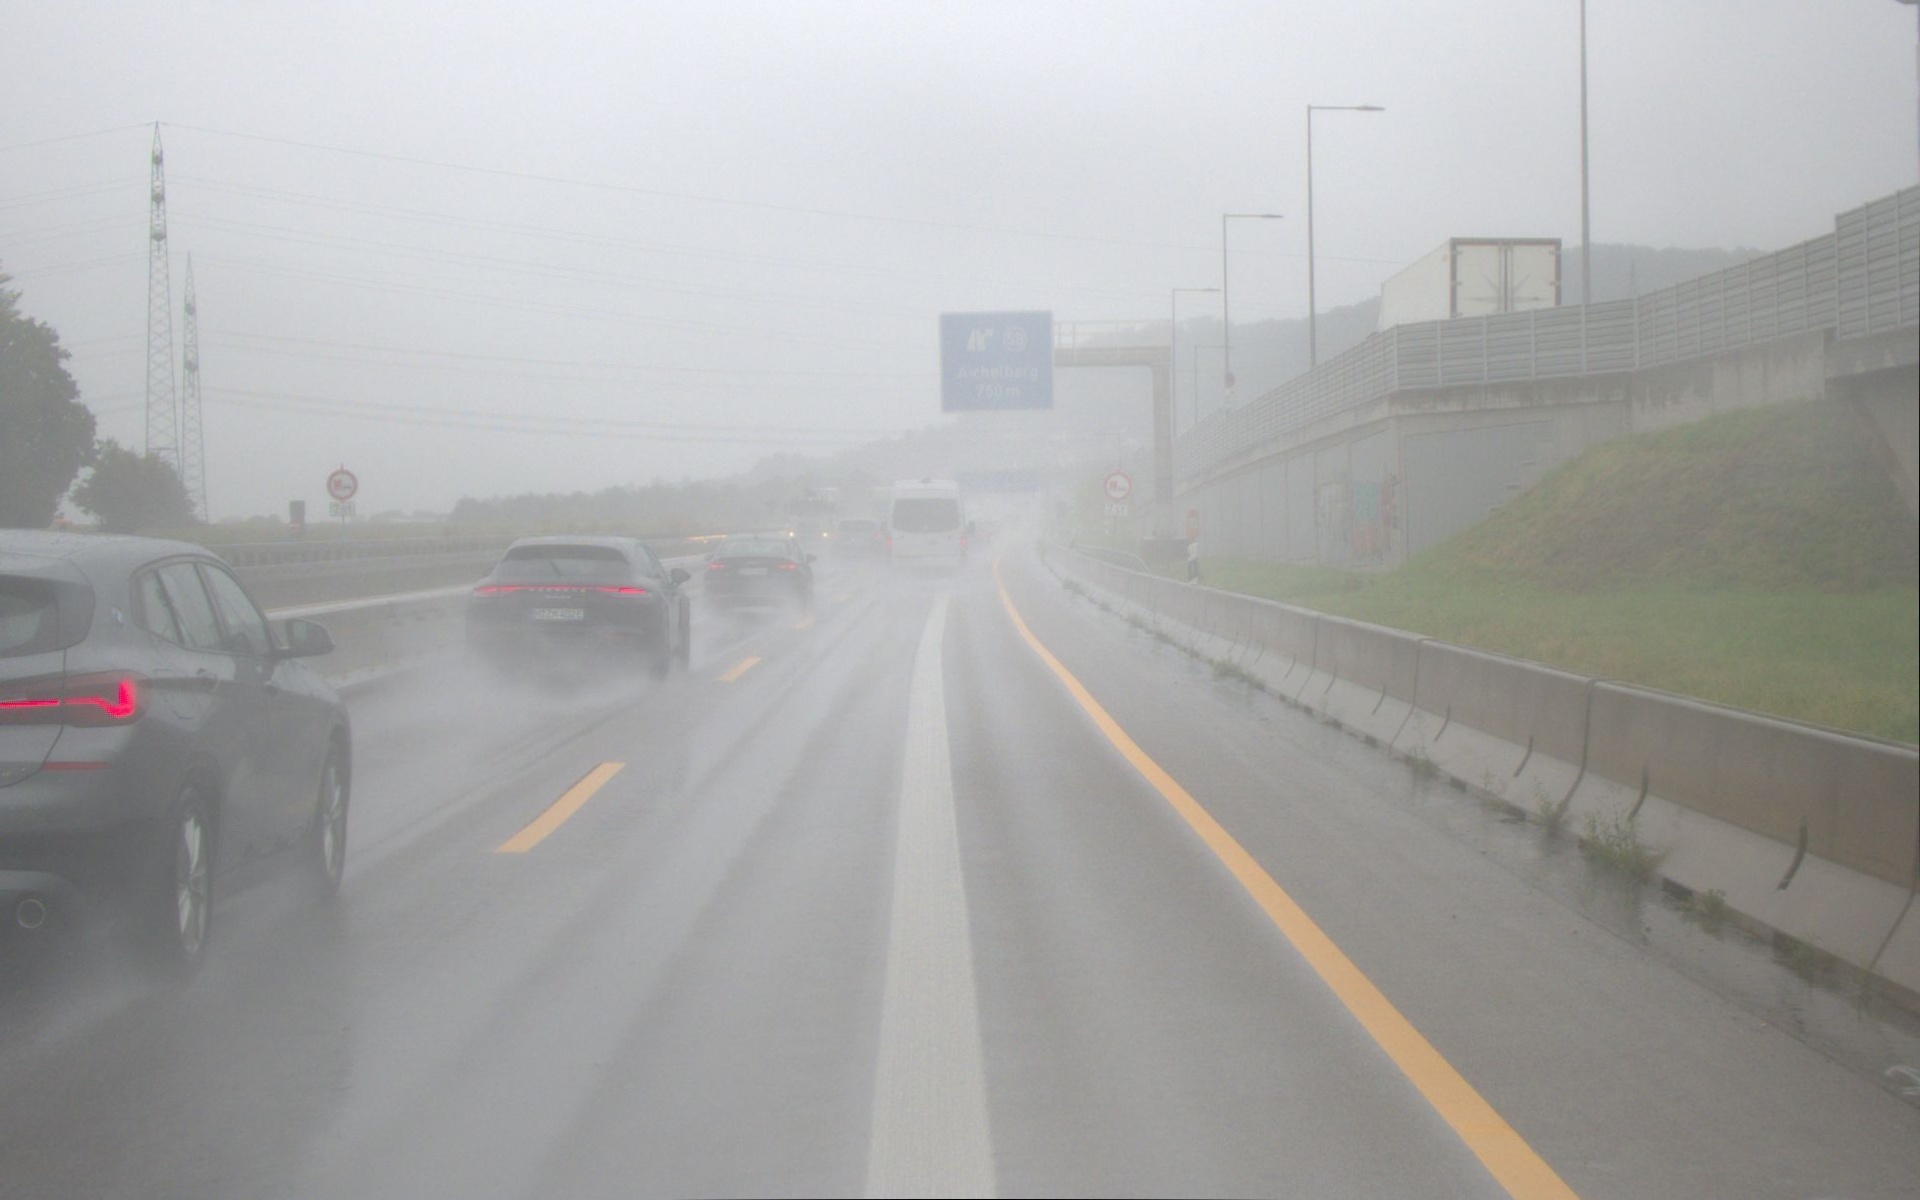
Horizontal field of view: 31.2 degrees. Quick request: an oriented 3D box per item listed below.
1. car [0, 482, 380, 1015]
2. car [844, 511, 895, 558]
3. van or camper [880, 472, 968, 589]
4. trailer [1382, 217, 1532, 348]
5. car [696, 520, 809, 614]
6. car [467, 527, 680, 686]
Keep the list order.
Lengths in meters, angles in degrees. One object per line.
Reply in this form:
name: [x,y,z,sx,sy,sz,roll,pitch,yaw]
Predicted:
car: [-3.295,0.430,12.676,1.700,1.592,4.846,0,0,-3]
car: [-3.072,-2.218,116.214,1.566,1.475,2.822,-2,0,-3]
van or camper: [-0.900,-1.672,83.798,1.996,2.768,4.050,0,0,-3]
trailer: [12.450,-7.928,87.231,1.993,2.099,13.768,0,0,1]
car: [-3.586,-0.606,59.853,1.844,1.486,4.262,-2,2,-3]
car: [-3.823,0.054,34.591,1.844,1.486,4.262,0,0,-3]
